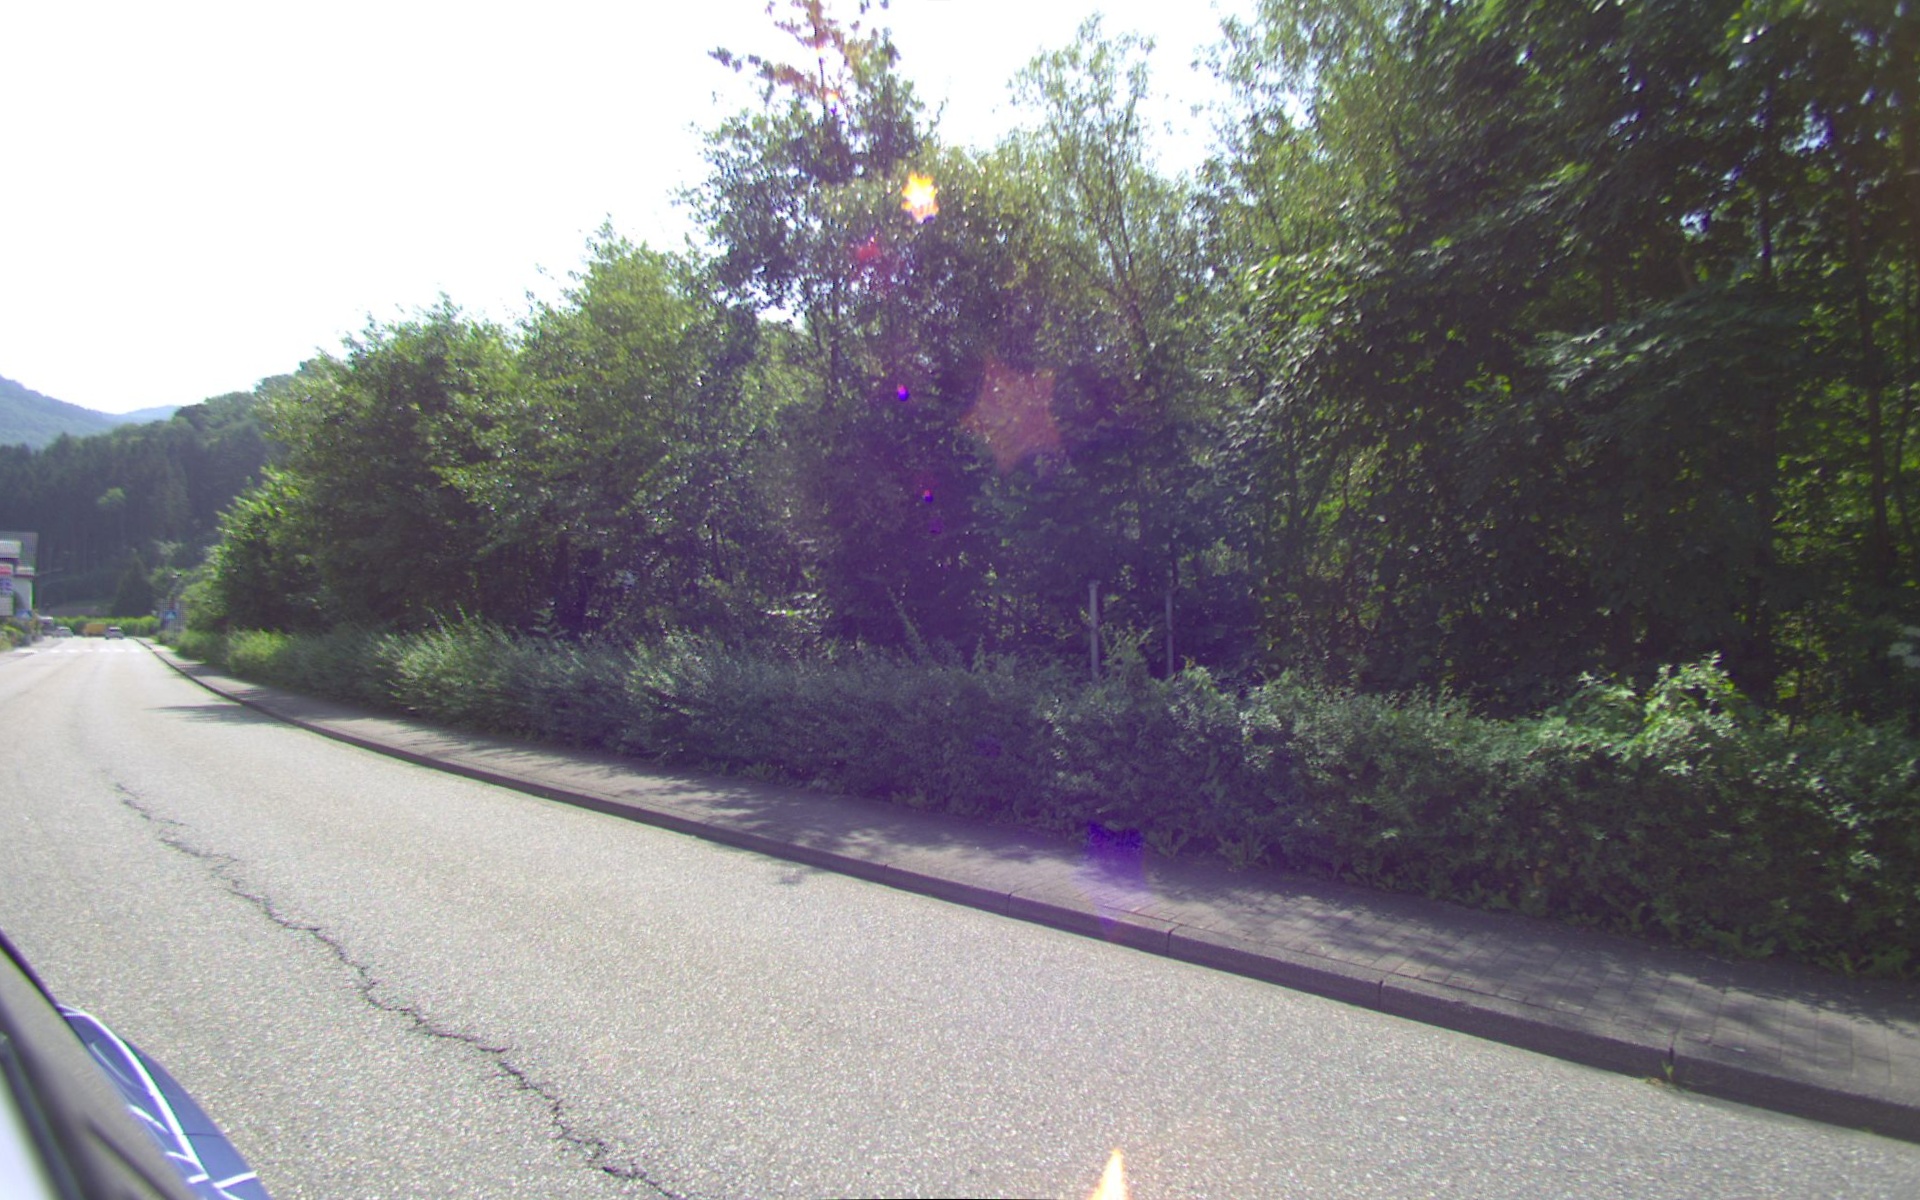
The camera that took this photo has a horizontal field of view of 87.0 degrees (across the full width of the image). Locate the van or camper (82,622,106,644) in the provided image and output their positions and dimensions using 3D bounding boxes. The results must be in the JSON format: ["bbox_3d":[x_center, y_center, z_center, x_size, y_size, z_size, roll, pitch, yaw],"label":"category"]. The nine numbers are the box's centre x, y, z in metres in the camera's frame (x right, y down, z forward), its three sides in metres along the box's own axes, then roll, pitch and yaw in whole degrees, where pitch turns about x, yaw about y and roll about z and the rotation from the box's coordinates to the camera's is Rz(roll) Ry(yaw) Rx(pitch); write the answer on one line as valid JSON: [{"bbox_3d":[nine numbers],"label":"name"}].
[{"bbox_3d":[-122.689,4.706,143.403,2.328,2.976,8.064,3,-4,-39],"label":"van or camper"}]

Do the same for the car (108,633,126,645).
[{"bbox_3d":[-106.326,4.900,127.699,1.570,1.494,3.764,3,-4,-38],"label":"car"}]

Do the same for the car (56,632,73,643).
[{"bbox_3d":[-124.116,5.233,140.354,1.584,1.416,3.833,5,-4,-40],"label":"car"}]
